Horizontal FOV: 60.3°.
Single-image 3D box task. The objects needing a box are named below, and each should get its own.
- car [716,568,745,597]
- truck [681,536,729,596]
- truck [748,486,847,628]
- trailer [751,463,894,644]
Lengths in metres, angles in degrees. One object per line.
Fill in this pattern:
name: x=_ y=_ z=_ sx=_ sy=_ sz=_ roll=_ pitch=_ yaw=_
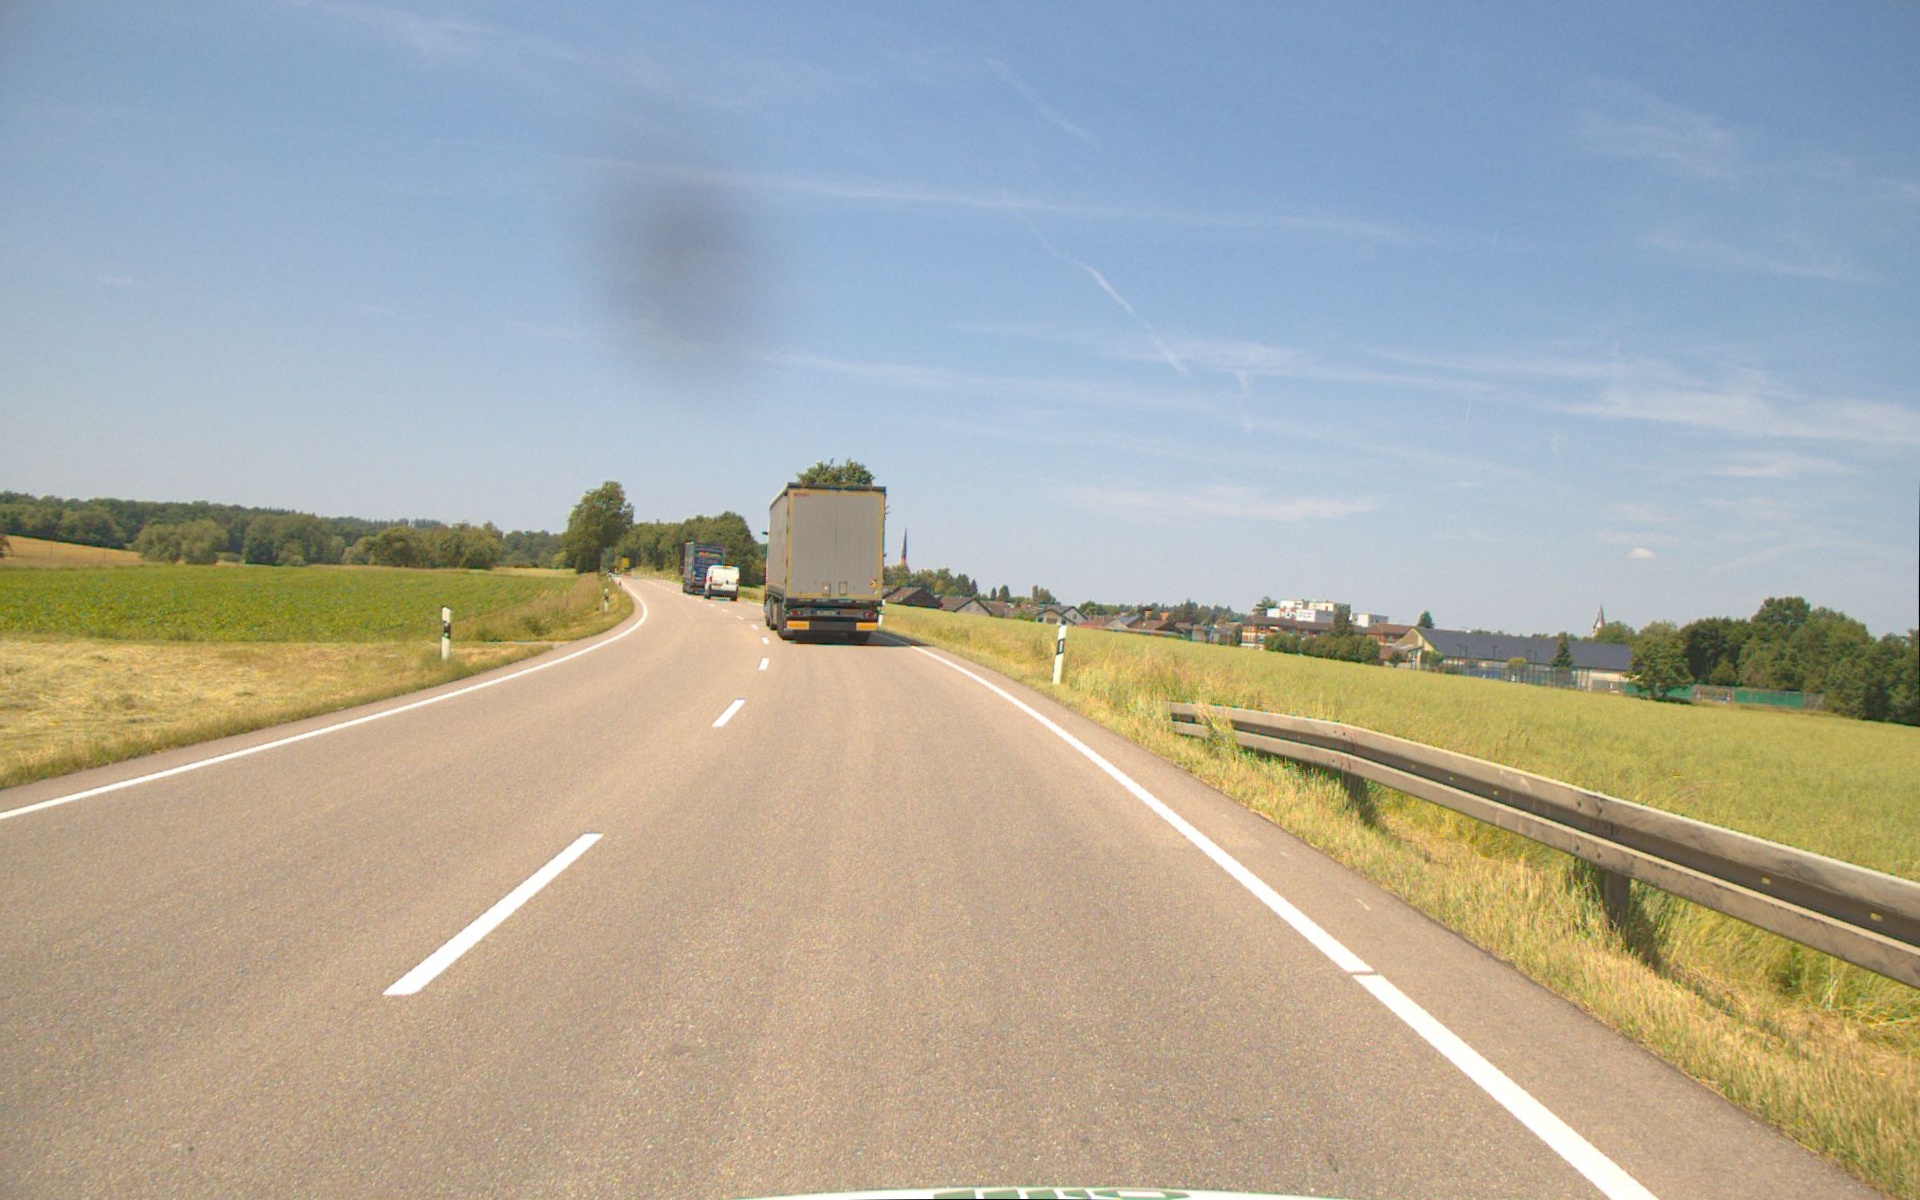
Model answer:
car: x=-15.642 y=-1.168 z=112.842 sx=1.692 sy=1.905 sz=3.996 roll=2 pitch=0 yaw=-5
truck: x=-20.986 y=-2.736 z=136.851 sx=3.483 sy=4.468 sz=18.089 roll=3 pitch=0 yaw=-8
truck: x=-5.484 y=-1.391 z=55.089 sx=2.808 sy=4.477 sz=5.059 roll=1 pitch=1 yaw=-10
trailer: x=-4.285 y=-1.264 z=48.162 sx=2.815 sy=4.477 sz=13.461 roll=1 pitch=1 yaw=-10
